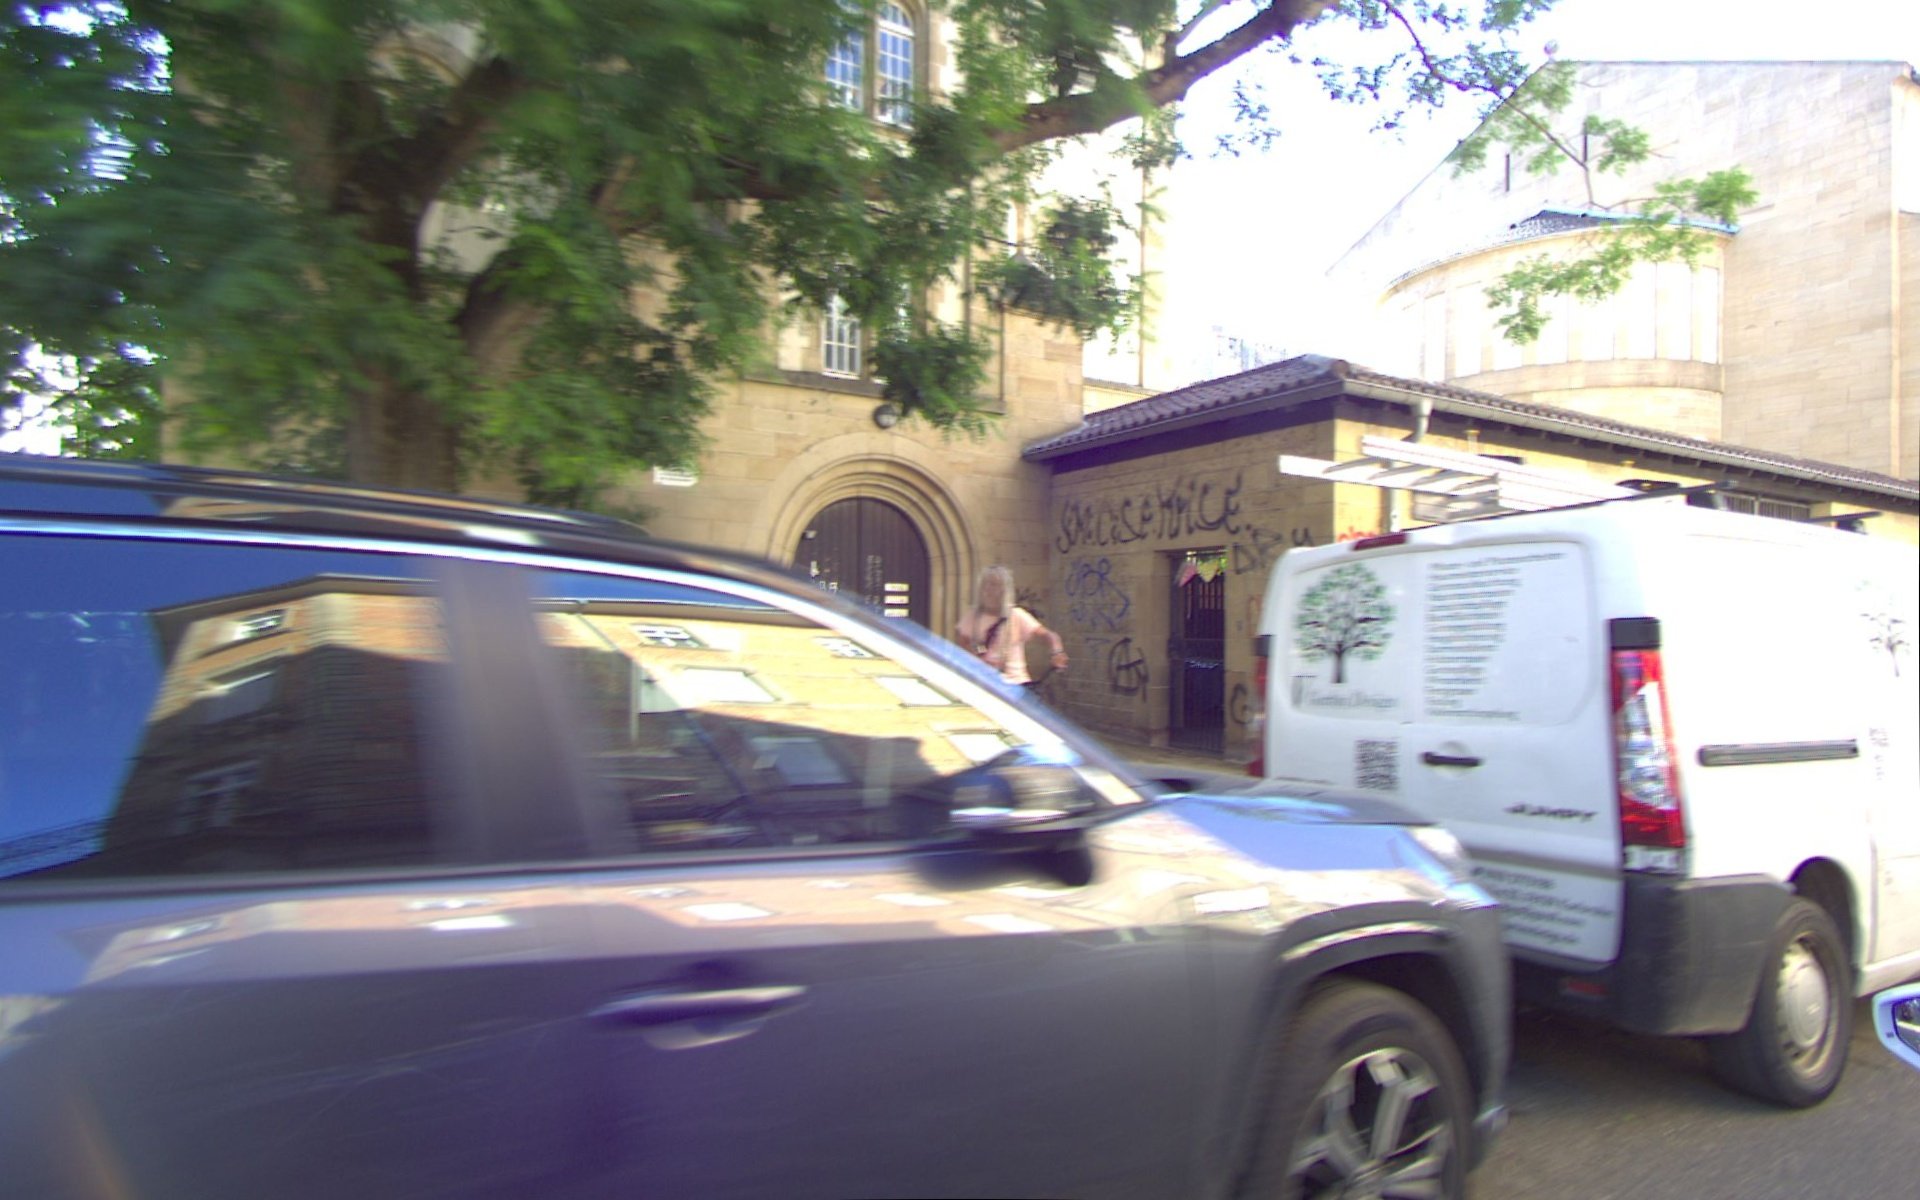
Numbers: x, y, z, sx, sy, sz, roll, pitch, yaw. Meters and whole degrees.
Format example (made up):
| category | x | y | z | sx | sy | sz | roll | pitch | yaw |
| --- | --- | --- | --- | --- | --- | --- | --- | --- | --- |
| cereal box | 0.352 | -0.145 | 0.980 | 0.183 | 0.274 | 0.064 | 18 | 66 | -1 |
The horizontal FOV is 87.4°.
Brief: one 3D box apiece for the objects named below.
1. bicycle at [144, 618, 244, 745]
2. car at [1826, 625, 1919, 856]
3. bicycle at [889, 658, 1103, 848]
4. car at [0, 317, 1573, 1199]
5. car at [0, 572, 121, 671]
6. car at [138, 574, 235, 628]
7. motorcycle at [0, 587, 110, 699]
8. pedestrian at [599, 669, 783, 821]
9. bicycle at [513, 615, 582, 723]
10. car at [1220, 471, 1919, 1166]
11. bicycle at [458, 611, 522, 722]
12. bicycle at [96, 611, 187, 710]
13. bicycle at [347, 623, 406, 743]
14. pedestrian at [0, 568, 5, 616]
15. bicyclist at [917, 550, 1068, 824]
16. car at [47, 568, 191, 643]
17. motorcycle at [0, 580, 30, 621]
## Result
| category | x | y | z | sx | sy | sz | roll | pitch | yaw |
| --- | --- | --- | --- | --- | --- | --- | --- | --- | --- |
| bicycle | -7.303 | 0.727 | 9.639 | 0.528 | 1.068 | 1.767 | 1 | 0 | -30 |
| car | 8.047 | 0.943 | 7.191 | 3.815 | 1.496 | 1.679 | 1 | -2 | -31 |
| bicycle | 0.174 | 0.964 | 6.892 | 0.814 | 0.935 | 1.758 | 1 | 3 | -21 |
| car | -0.766 | 0.582 | 2.032 | 4.242 | 1.668 | 1.731 | 1 | 0 | -32 |
| car | -15.262 | 0.275 | 16.326 | 1.775 | 1.439 | 4.243 | 1 | 0 | -30 |
| car | -22.531 | 0.010 | 29.383 | 1.711 | 1.439 | 4.105 | 1 | 0 | -30 |
| motorcycle | -12.619 | 0.558 | 13.216 | 2.080 | 1.440 | 0.656 | 1 | 0 | -31 |
| pedestrian | -1.687 | 0.869 | 6.303 | 0.904 | 0.788 | 0.700 | 1 | 0 | 36 |
| bicycle | -4.591 | 0.722 | 11.131 | 0.473 | 1.068 | 1.767 | 1 | 0 | -30 |
| car | 3.498 | 0.623 | 4.616 | 4.410 | 1.887 | 1.837 | 1 | 0 | -29 |
| bicycle | -5.073 | 0.668 | 10.806 | 0.473 | 1.068 | 1.767 | 1 | 0 | -30 |
| bicycle | -9.938 | 0.694 | 12.253 | 0.528 | 1.068 | 2.063 | 1 | 0 | -30 |
| bicycle | -5.917 | 0.789 | 10.203 | 0.473 | 1.068 | 1.767 | 1 | 0 | -30 |
| pedestrian | -32.658 | -0.277 | 33.699 | 0.703 | 1.588 | 0.718 | 2 | 3 | -30 |
| bicyclist | 0.201 | 0.554 | 6.889 | 0.682 | 1.746 | 0.803 | 2 | 3 | -21 |
| car | -18.283 | 0.091 | 22.035 | 1.711 | 1.480 | 4.243 | 1 | 0 | -30 |
| motorcycle | -26.769 | -0.054 | 26.508 | 2.999 | 1.076 | 1.336 | 3 | -1 | -6 |
